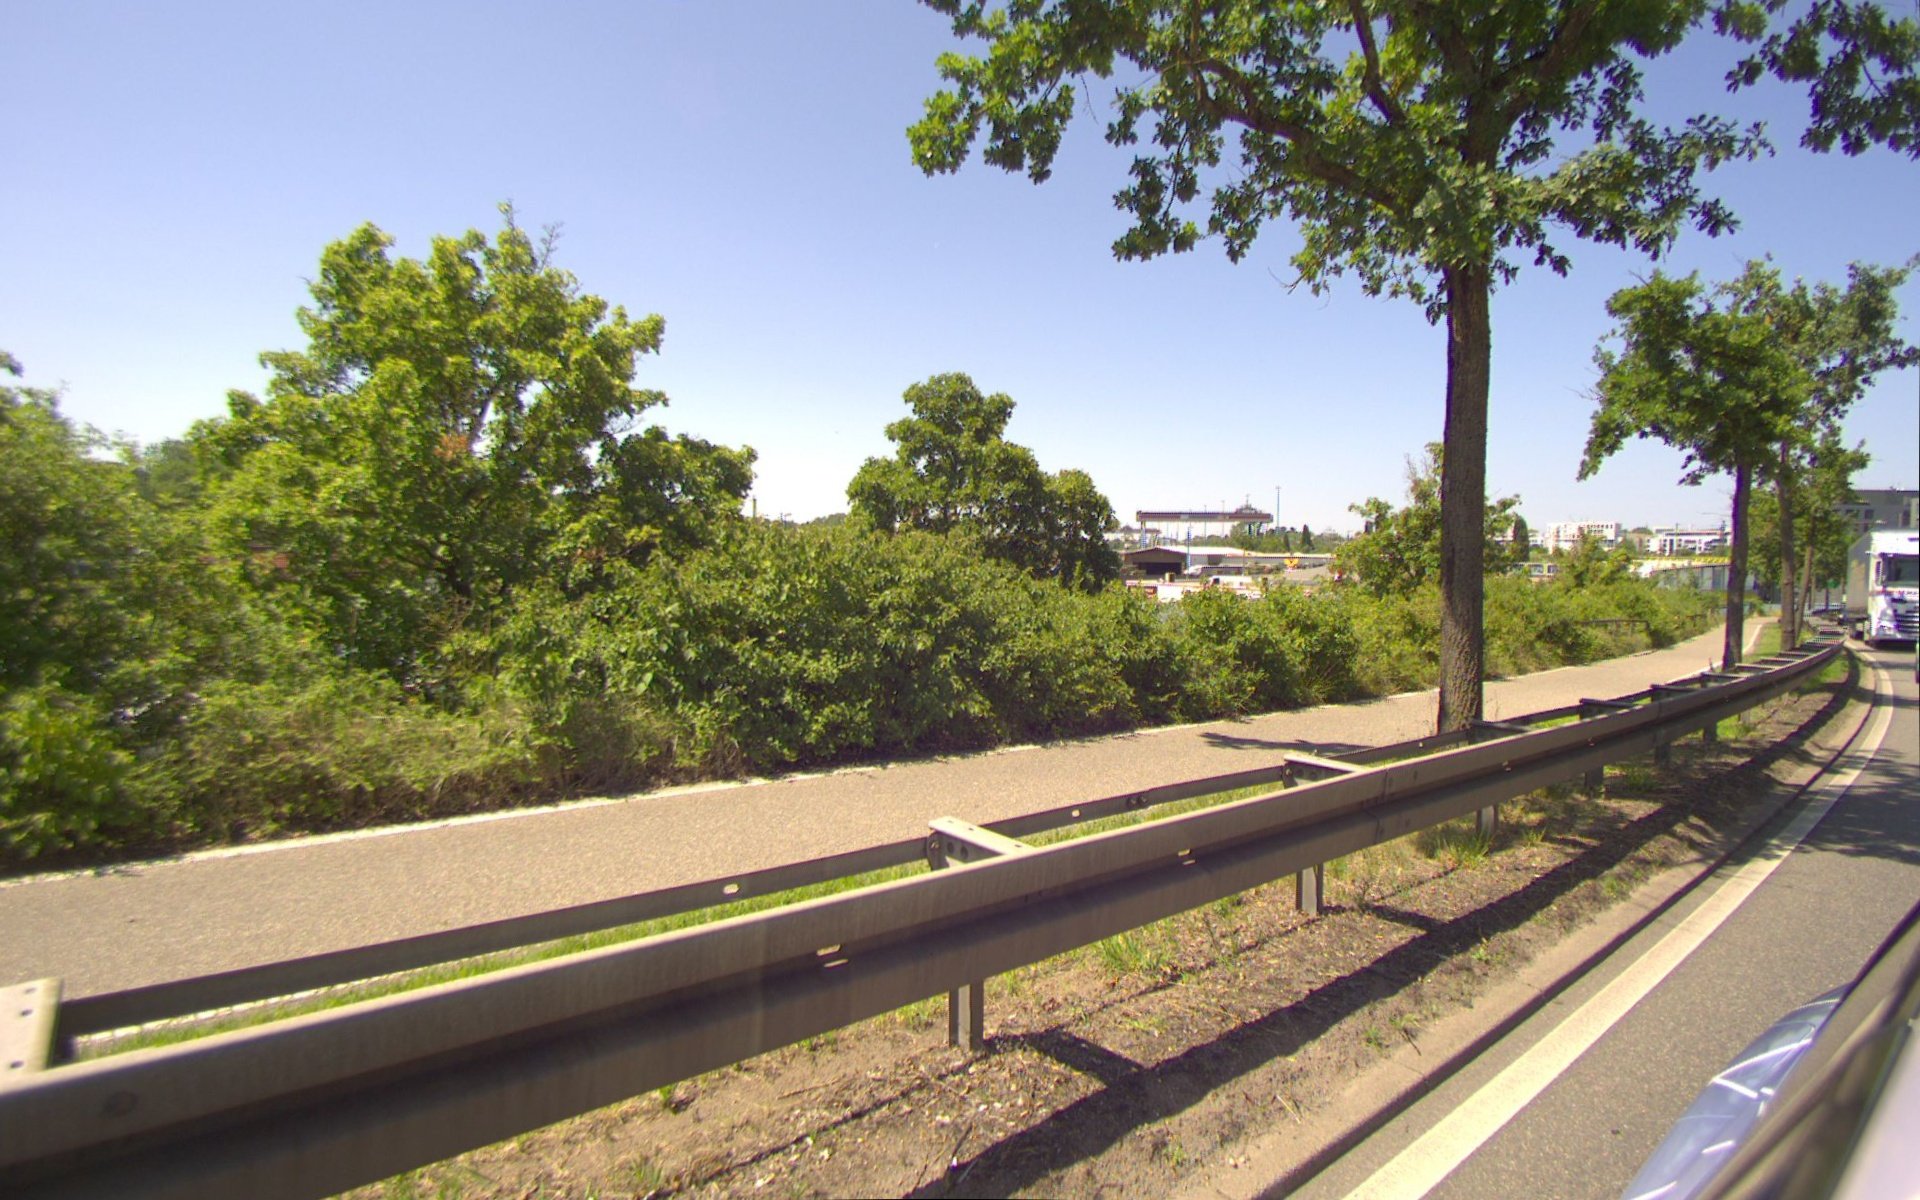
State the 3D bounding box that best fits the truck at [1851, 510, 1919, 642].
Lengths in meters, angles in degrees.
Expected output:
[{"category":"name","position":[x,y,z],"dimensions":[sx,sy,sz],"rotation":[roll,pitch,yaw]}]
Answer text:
[{"category":"truck","position":[36.541,-0.824,38.649],"dimensions":[3.057,4.223,16.672],"rotation":[0,0,39]}]
